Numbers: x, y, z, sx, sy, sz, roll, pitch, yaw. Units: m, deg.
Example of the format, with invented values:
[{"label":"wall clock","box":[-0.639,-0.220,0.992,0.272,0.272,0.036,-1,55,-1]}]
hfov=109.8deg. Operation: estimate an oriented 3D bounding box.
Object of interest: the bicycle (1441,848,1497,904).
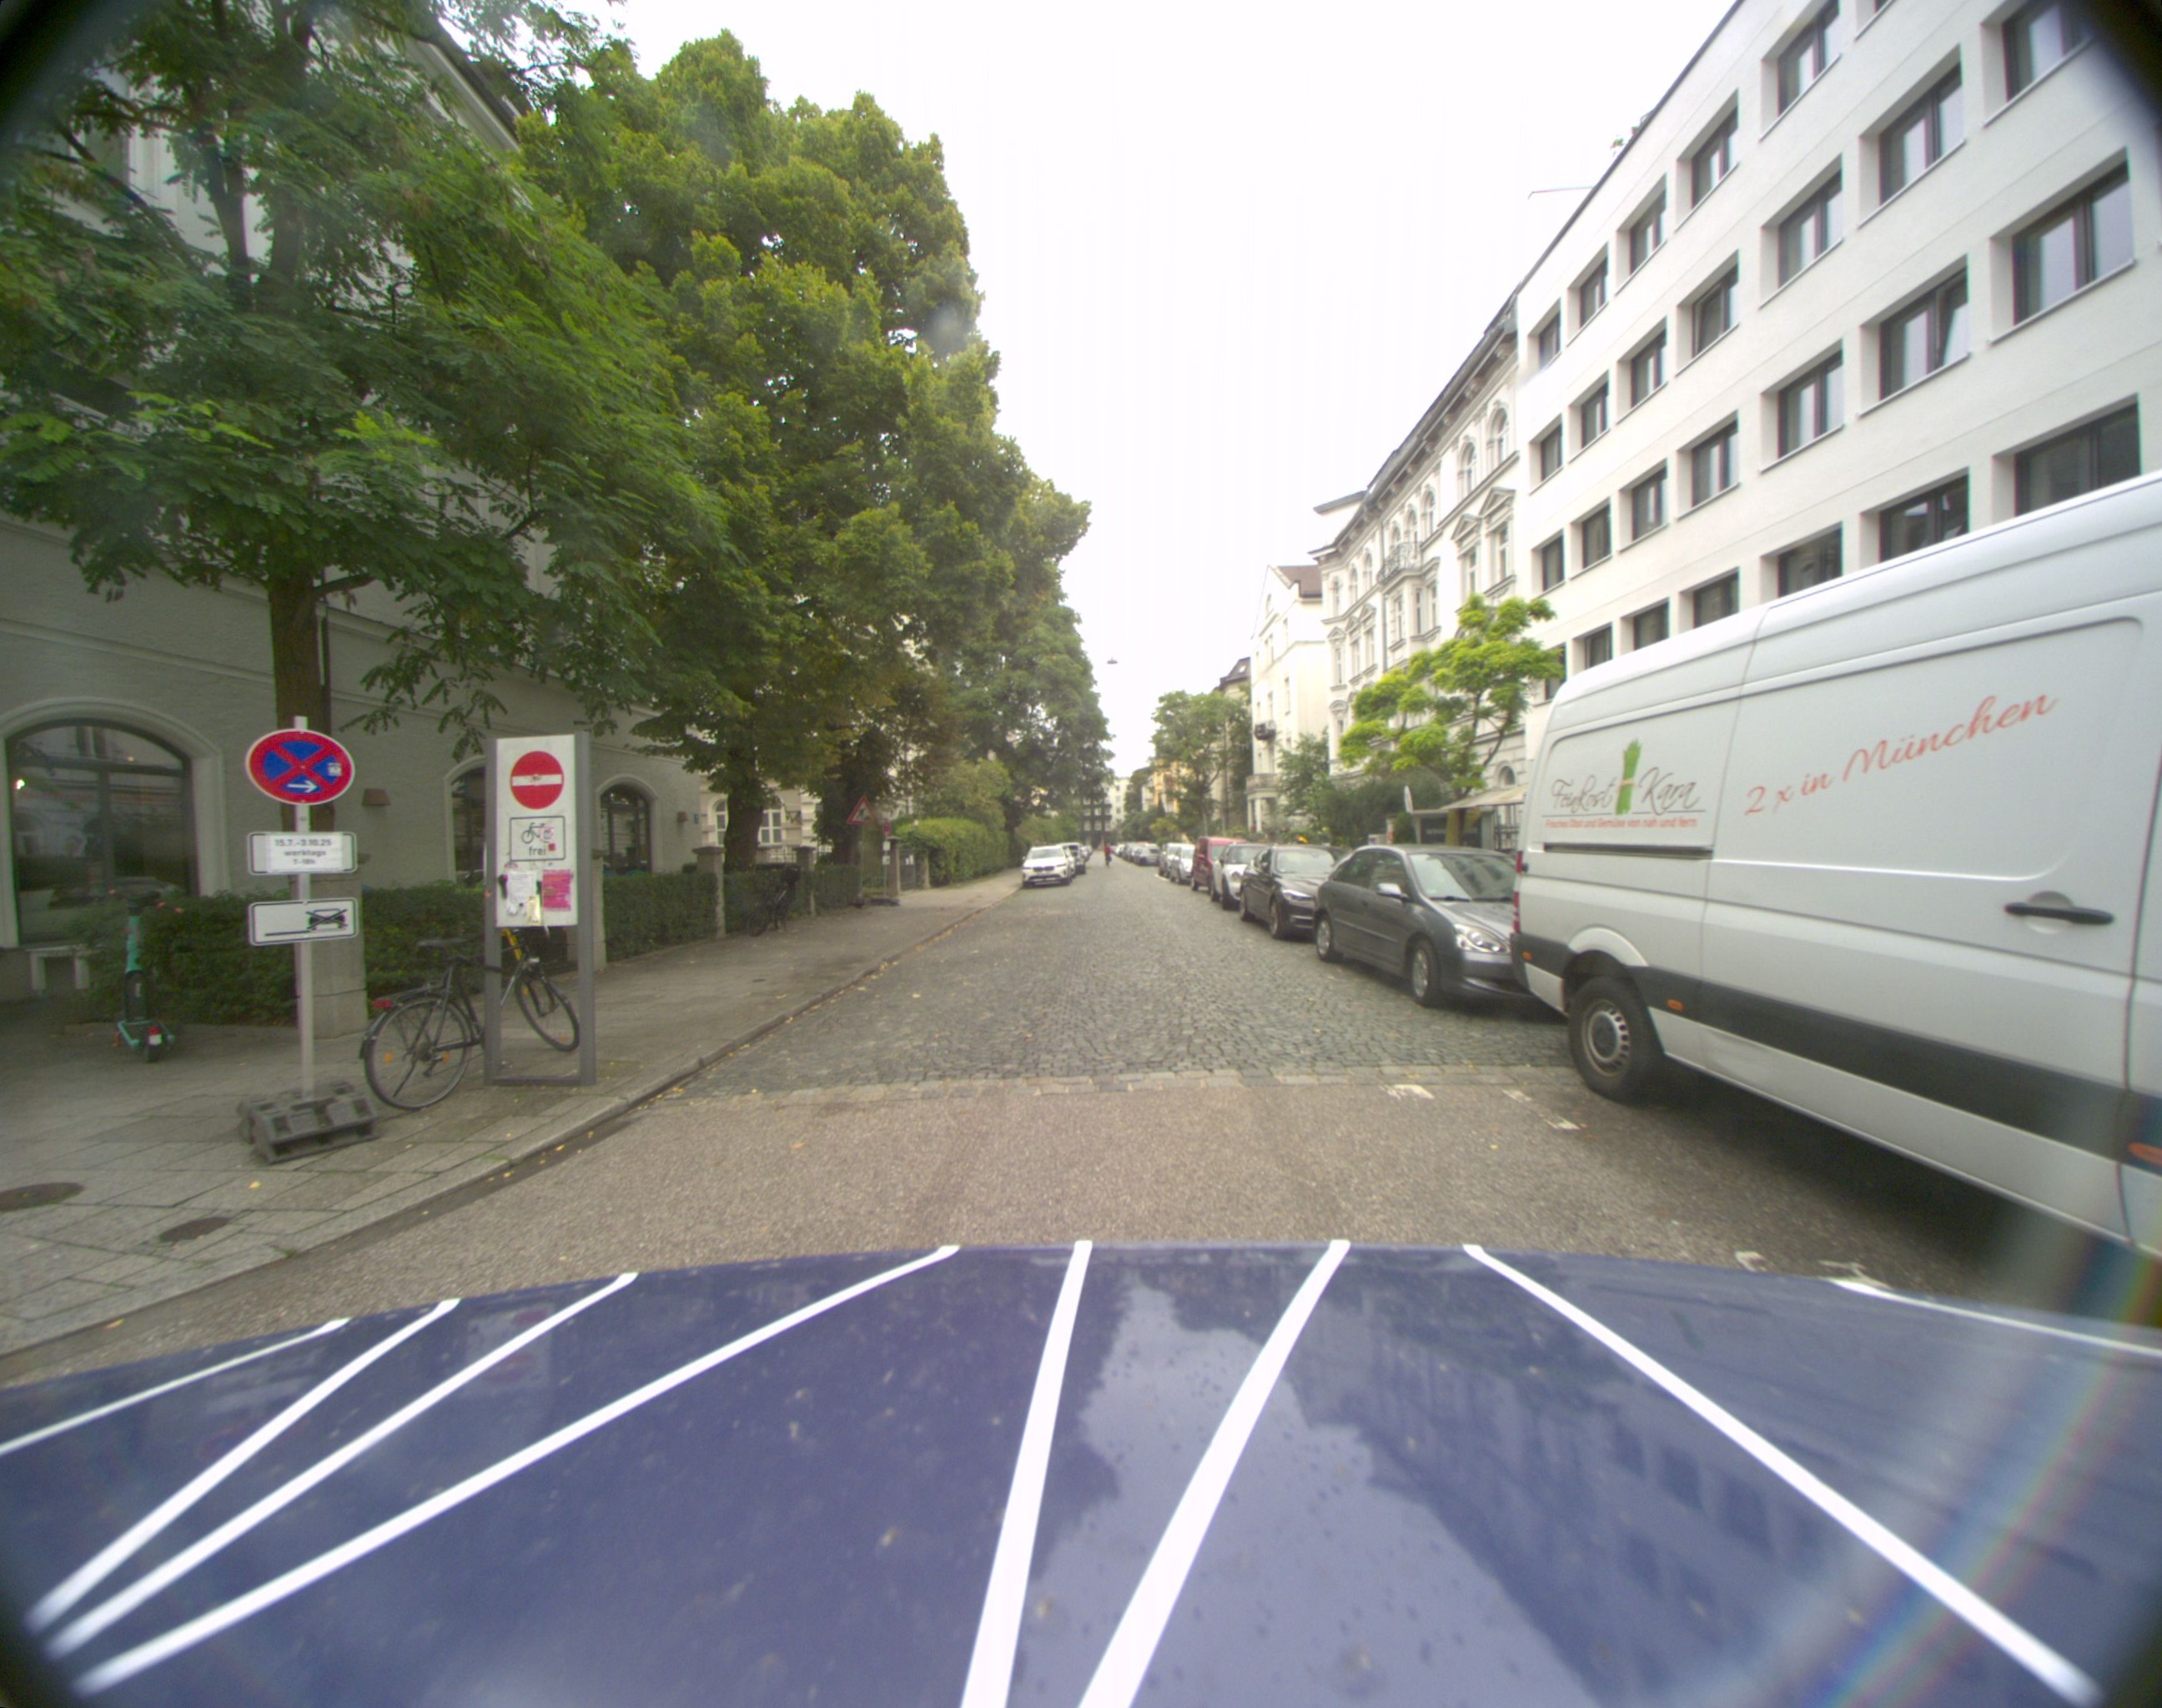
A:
[{"label":"bicycle","box":[8.734,0.466,17.172,0.361,1.168,1.911,-2,1,4]}]

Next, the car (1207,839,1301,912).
[{"label":"car","box":[4.050,0.432,18.298,1.697,1.495,3.777,-2,1,5]}]

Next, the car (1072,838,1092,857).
[{"label":"car","box":[0.114,-0.756,83.812,1.998,2.002,3.999,-2,1,2]}]

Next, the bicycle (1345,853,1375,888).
[{"label":"bicycle","box":[8.971,0.514,24.462,0.258,1.072,1.685,-2,0,-3]}]

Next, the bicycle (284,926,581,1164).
[{"label":"bicycle","box":[-4.153,1.146,5.043,0.389,1.140,1.590,-1,2,8]}]

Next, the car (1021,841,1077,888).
[{"label":"car","box":[-1.267,0.372,31.959,1.925,1.676,4.633,-2,2,2]}]

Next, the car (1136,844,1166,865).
[{"label":"car","box":[5.279,0.007,57.993,1.886,1.411,4.808,0,1,1]}]

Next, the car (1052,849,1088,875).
[{"label":"car","box":[-0.580,0.435,44.042,1.924,1.291,4.808,-2,1,1]}]

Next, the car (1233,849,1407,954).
[{"label":"car","box":[3.879,0.665,13.167,1.730,1.456,4.473,1,1,2]}]

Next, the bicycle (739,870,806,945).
[{"label":"bicycle","box":[-5.657,0.949,14.021,0.428,1.191,1.730,3,2,2]}]

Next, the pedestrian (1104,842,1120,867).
[{"label":"pedestrian","box":[2.225,0.023,54.654,1.105,1.768,1.263,-2,2,2]}]

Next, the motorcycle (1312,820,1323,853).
[{"label":"motorcycle","box":[8.812,-0.657,28.302,0.331,1.173,1.627,-2,2,17]}]

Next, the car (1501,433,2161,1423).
[{"label":"car","box":[3.801,0.183,2.323,1.982,2.559,5.793,0,1,2]}]

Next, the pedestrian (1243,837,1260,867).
[{"label":"pedestrian","box":[9.347,-0.114,41.622,0.665,1.618,0.670,-1,2,33]}]

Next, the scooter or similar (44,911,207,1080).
[{"label":"scooter or similar","box":[-7.779,1.098,6.174,1.604,1.166,0.405,1,3,25]}]

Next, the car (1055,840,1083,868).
[{"label":"car","box":[-0.883,-0.032,57.851,1.818,1.809,4.808,-5,1,1]}]

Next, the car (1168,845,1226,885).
[{"label":"car","box":[4.508,0.381,29.940,1.635,1.386,3.815,-2,1,0]}]

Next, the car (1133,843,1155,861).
[{"label":"car","box":[5.658,-0.193,68.747,1.713,1.417,3.999,-2,1,2]}]

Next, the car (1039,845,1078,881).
[{"label":"car","box":[-1.083,0.416,38.951,1.751,1.591,4.471,-2,1,1]}]

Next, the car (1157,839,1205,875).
[{"label":"car","box":[4.721,0.097,36.231,1.694,1.563,4.067,-2,1,0]}]

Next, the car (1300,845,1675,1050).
[{"label":"car","box":[3.697,0.693,7.808,1.666,1.474,3.981,-2,1,-1]}]

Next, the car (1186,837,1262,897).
[{"label":"car","box":[4.391,0.339,23.778,1.722,1.713,3.898,-1,1,1]}]

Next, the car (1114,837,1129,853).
[{"label":"car","box":[5.416,-1.179,101.790,1.762,2.002,3.999,-2,1,2]}]

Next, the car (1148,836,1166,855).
[{"label":"car","box":[8.552,-0.984,86.088,1.762,2.002,3.999,-2,1,2]}]

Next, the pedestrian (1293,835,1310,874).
[{"label":"pedestrian","box":[9.423,0.026,32.477,0.577,1.637,0.822,0,1,8]}]
